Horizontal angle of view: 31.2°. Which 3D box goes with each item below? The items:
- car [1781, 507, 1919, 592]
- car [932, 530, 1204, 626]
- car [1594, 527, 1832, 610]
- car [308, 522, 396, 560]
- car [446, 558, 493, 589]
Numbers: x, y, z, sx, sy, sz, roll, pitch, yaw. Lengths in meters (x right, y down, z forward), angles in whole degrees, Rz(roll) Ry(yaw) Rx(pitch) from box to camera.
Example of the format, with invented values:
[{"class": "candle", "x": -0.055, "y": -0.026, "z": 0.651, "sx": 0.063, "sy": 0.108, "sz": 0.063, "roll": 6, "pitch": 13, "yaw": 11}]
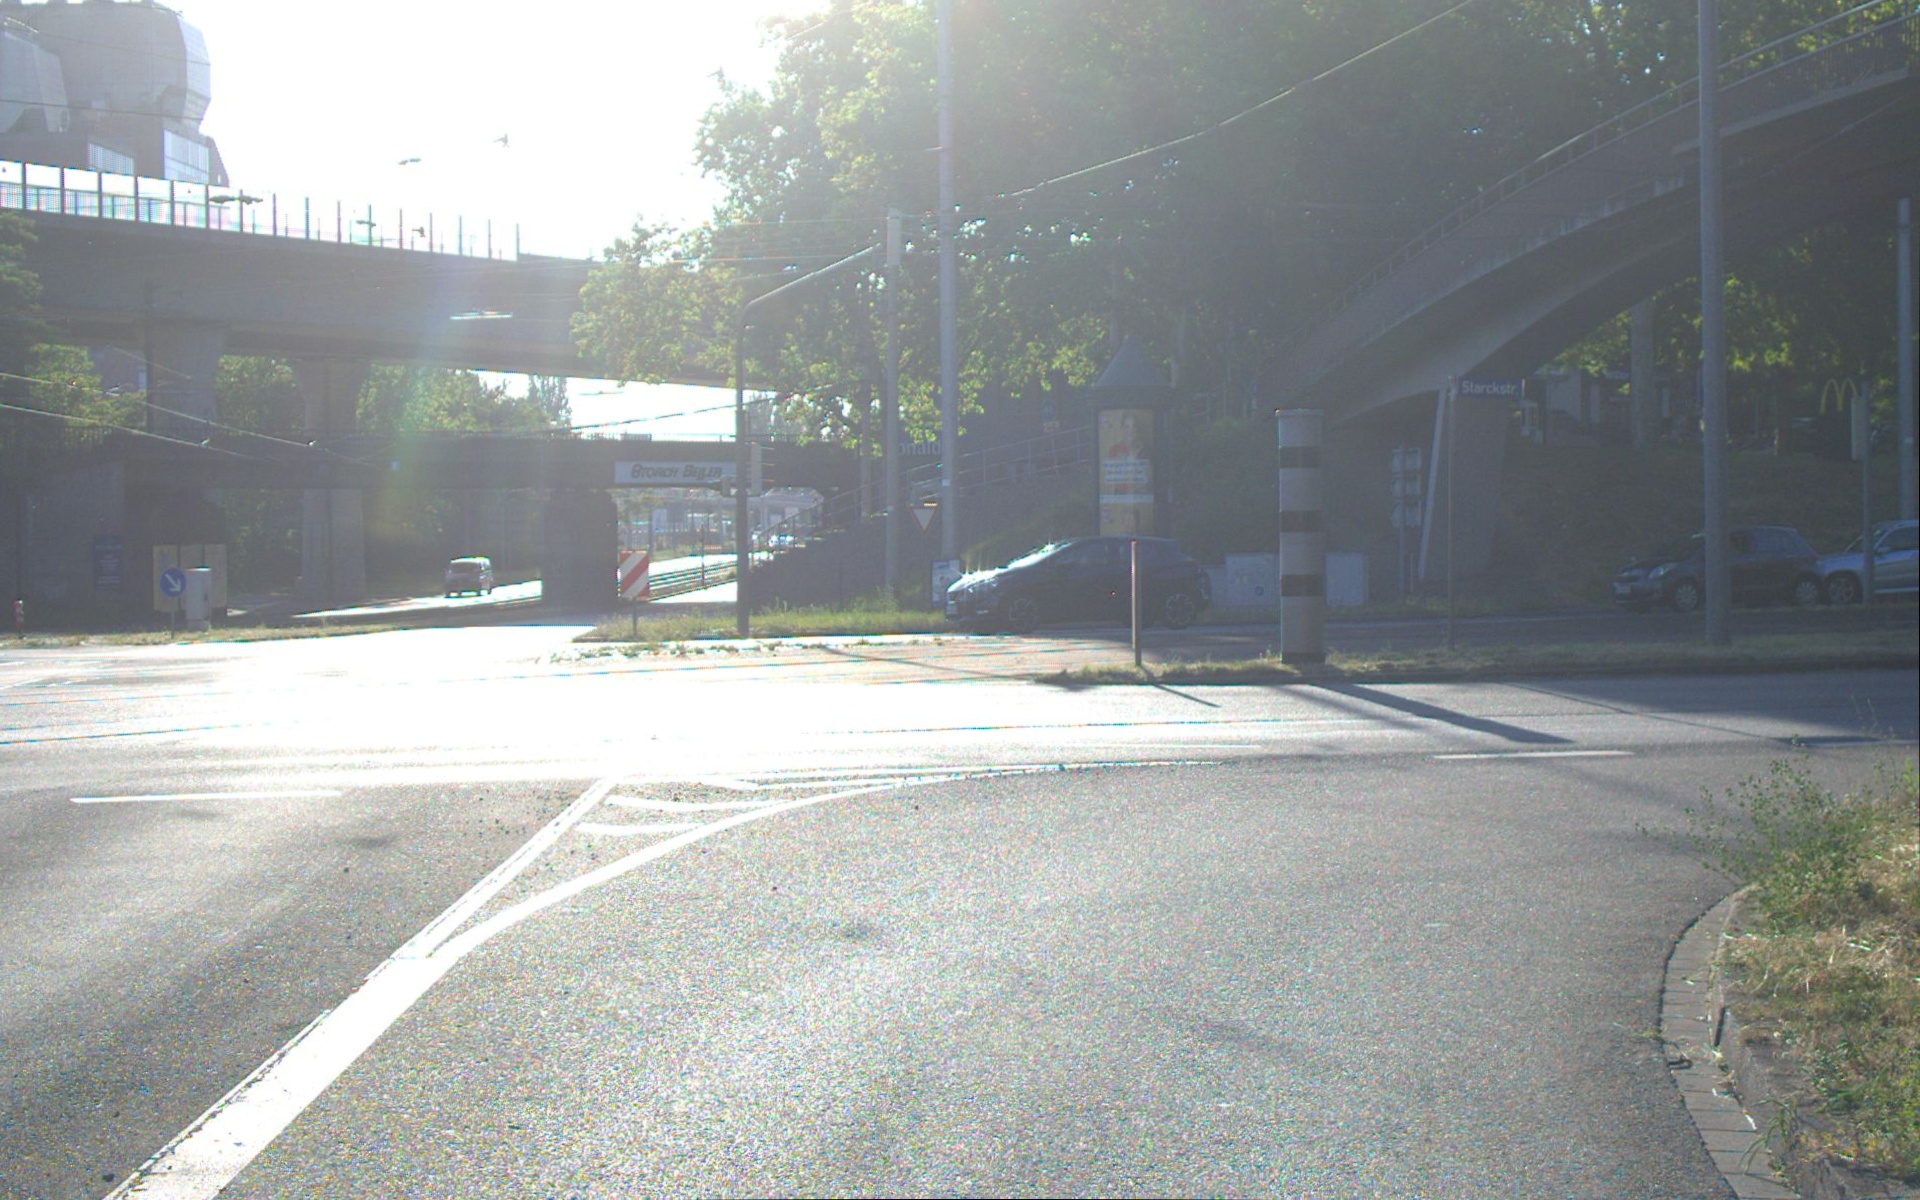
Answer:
[{"class": "car", "x": 18.461, "y": -0.992, "z": 67.537, "sx": 4.204, "sy": 1.647, "sz": 1.717, "roll": 0, "pitch": 1, "yaw": -7}, {"class": "car", "x": 1.616, "y": -0.337, "z": 51.718, "sx": 3.720, "sy": 1.417, "sz": 1.697, "roll": 0, "pitch": 1, "yaw": -19}, {"class": "car", "x": 13.187, "y": -0.558, "z": 60.229, "sx": 3.720, "sy": 1.417, "sz": 1.697, "roll": 0, "pitch": 1, "yaw": -19}, {"class": "car", "x": -29.177, "y": -2.830, "z": 165.065, "sx": 1.997, "sy": 1.765, "sz": 3.993, "roll": 1, "pitch": 1, "yaw": 32}, {"class": "car", "x": -26.108, "y": -1.430, "z": 183.118, "sx": 1.711, "sy": 1.647, "sz": 4.095, "roll": 0, "pitch": 1, "yaw": 3}]
